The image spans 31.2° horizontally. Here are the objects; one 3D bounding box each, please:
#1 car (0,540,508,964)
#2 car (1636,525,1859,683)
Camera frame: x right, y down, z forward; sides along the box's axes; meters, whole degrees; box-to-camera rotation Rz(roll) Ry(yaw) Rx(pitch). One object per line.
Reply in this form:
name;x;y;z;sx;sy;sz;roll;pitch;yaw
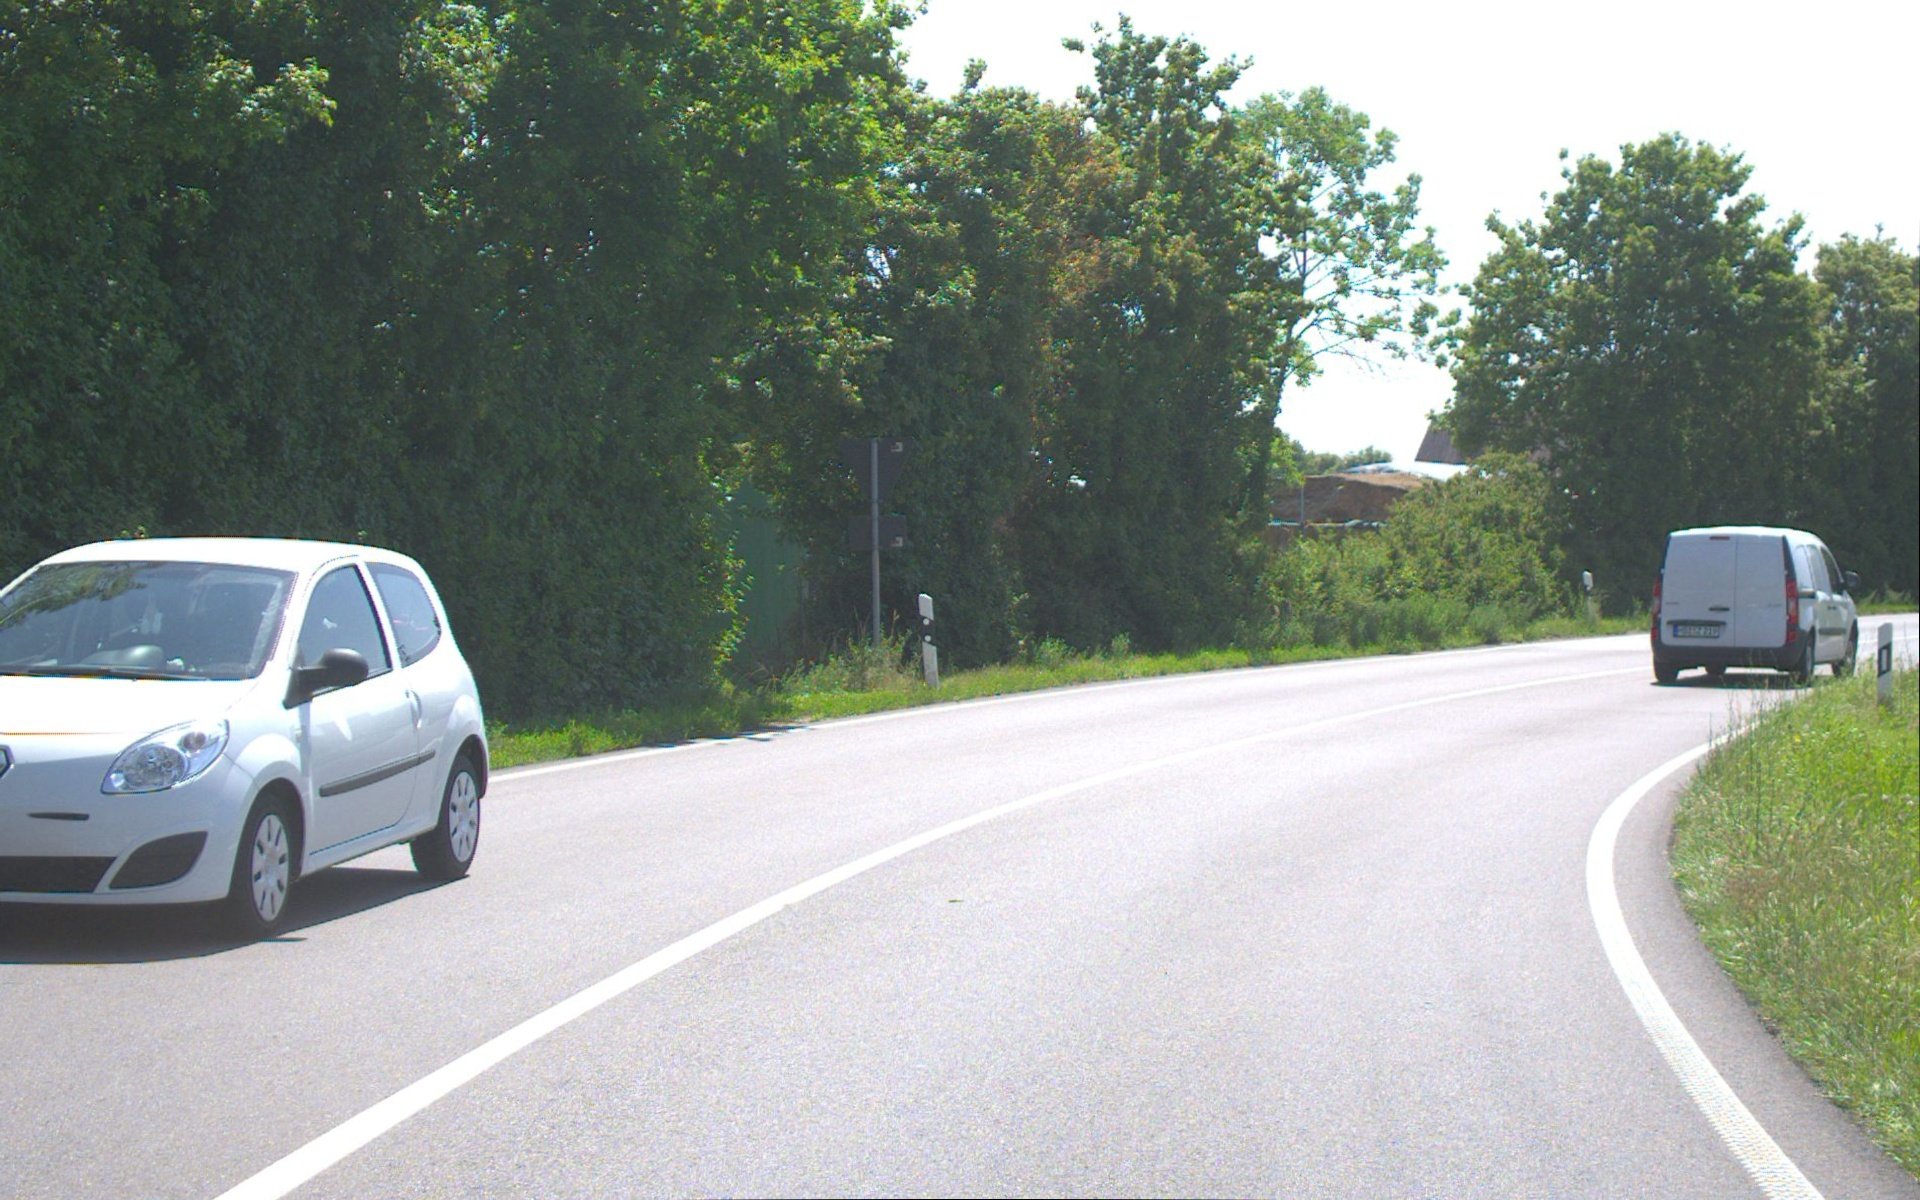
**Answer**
car;-3.074;0.507;13.762;1.537;1.438;3.606;2;0;8
car;9.187;0.048;39.912;1.906;1.726;3.818;-1;0;22
